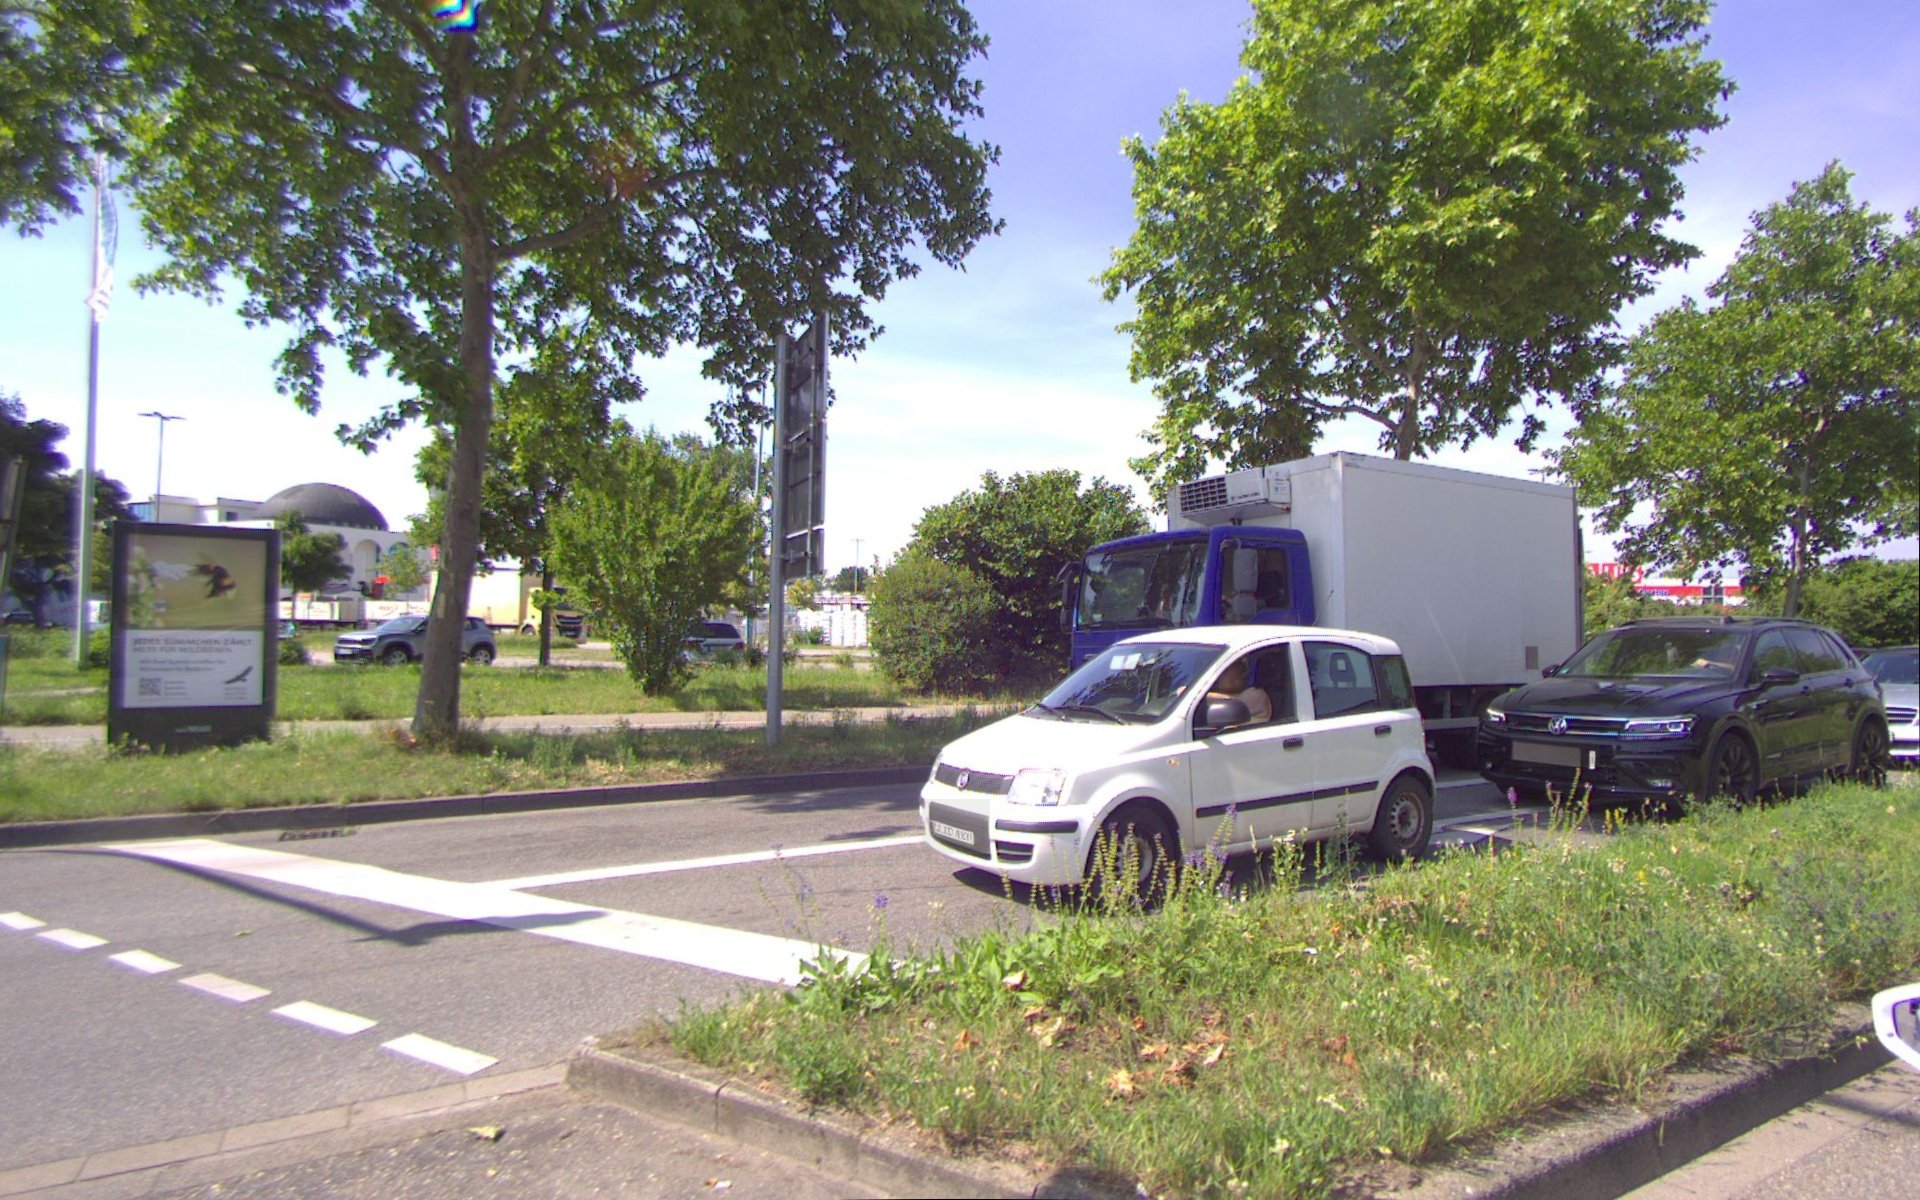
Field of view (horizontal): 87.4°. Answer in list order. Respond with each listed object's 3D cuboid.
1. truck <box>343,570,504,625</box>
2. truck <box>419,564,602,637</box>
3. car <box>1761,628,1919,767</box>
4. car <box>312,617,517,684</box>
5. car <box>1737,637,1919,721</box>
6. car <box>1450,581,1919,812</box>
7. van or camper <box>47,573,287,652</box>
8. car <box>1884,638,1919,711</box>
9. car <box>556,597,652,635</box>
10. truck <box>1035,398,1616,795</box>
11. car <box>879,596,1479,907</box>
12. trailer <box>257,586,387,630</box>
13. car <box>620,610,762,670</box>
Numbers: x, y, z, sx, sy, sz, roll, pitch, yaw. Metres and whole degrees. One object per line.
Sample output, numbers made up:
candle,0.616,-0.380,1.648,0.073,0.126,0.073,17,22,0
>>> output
truck,-30.536,-0.135,57.049,9.431,2.930,2.925,1,-1,25
truck,-22.212,0.009,49.566,8.754,3.355,3.159,1,-1,24
car,11.975,1.114,12.361,4.468,1.487,1.789,2,-2,-30
car,-14.389,1.291,26.858,2.157,1.593,4.578,1,-1,18
car,16.606,1.463,19.186,3.502,1.471,1.558,2,-4,-30
car,6.776,0.825,9.244,4.638,1.668,1.812,3,-3,-30
van or camper,-24.678,0.425,31.566,2.155,2.239,5.513,1,-1,27
car,22.053,1.606,21.922,4.037,1.550,1.681,2,-3,-31
car,-24.795,1.150,70.306,2.345,2.563,6.430,0,-1,28
truck,4.391,0.080,11.758,6.612,3.517,2.791,1,-3,-30
car,1.480,0.798,6.470,3.685,1.496,1.586,2,-2,-30
trailer,-38.970,0.454,61.292,8.058,2.523,2.923,1,-1,27
car,-7.274,1.014,26.818,2.180,1.433,4.530,2,-1,-36
